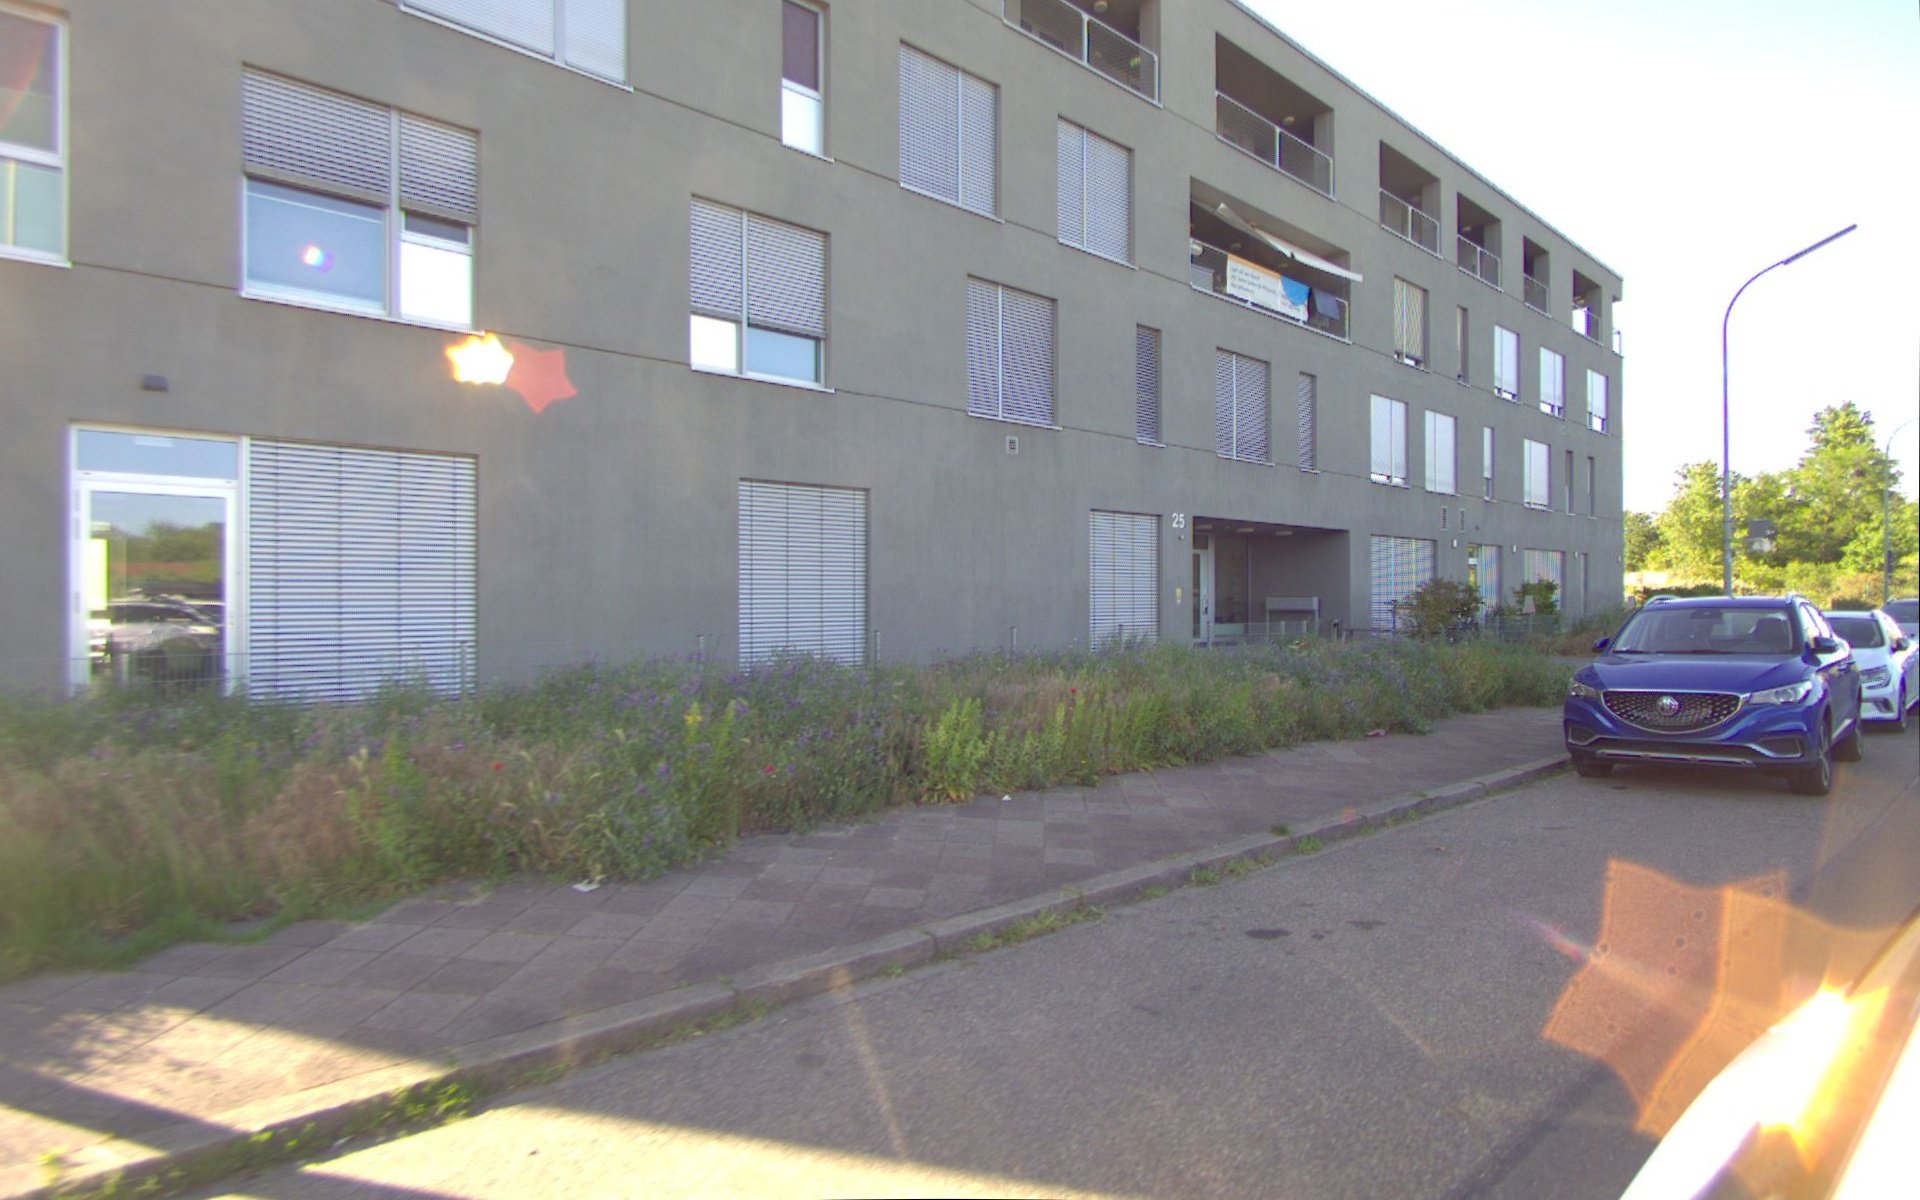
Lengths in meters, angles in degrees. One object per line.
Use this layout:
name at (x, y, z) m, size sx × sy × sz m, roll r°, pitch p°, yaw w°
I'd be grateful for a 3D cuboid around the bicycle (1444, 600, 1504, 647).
bicycle at (12.387, 0.547, 24.371) m, size 1.808 × 1.075 × 0.553 m, roll 0°, pitch -1°, yaw -38°

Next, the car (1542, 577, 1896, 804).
car at (7.249, 0.661, 9.465) m, size 4.549 × 1.620 × 1.818 m, roll 0°, pitch -2°, yaw -43°

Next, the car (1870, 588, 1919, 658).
car at (22.544, 0.485, 23.416) m, size 4.082 × 1.546 × 1.709 m, roll -1°, pitch -1°, yaw -41°

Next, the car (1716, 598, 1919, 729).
car at (11.708, 0.722, 13.425) m, size 4.506 × 1.448 × 1.747 m, roll 0°, pitch -2°, yaw -41°
